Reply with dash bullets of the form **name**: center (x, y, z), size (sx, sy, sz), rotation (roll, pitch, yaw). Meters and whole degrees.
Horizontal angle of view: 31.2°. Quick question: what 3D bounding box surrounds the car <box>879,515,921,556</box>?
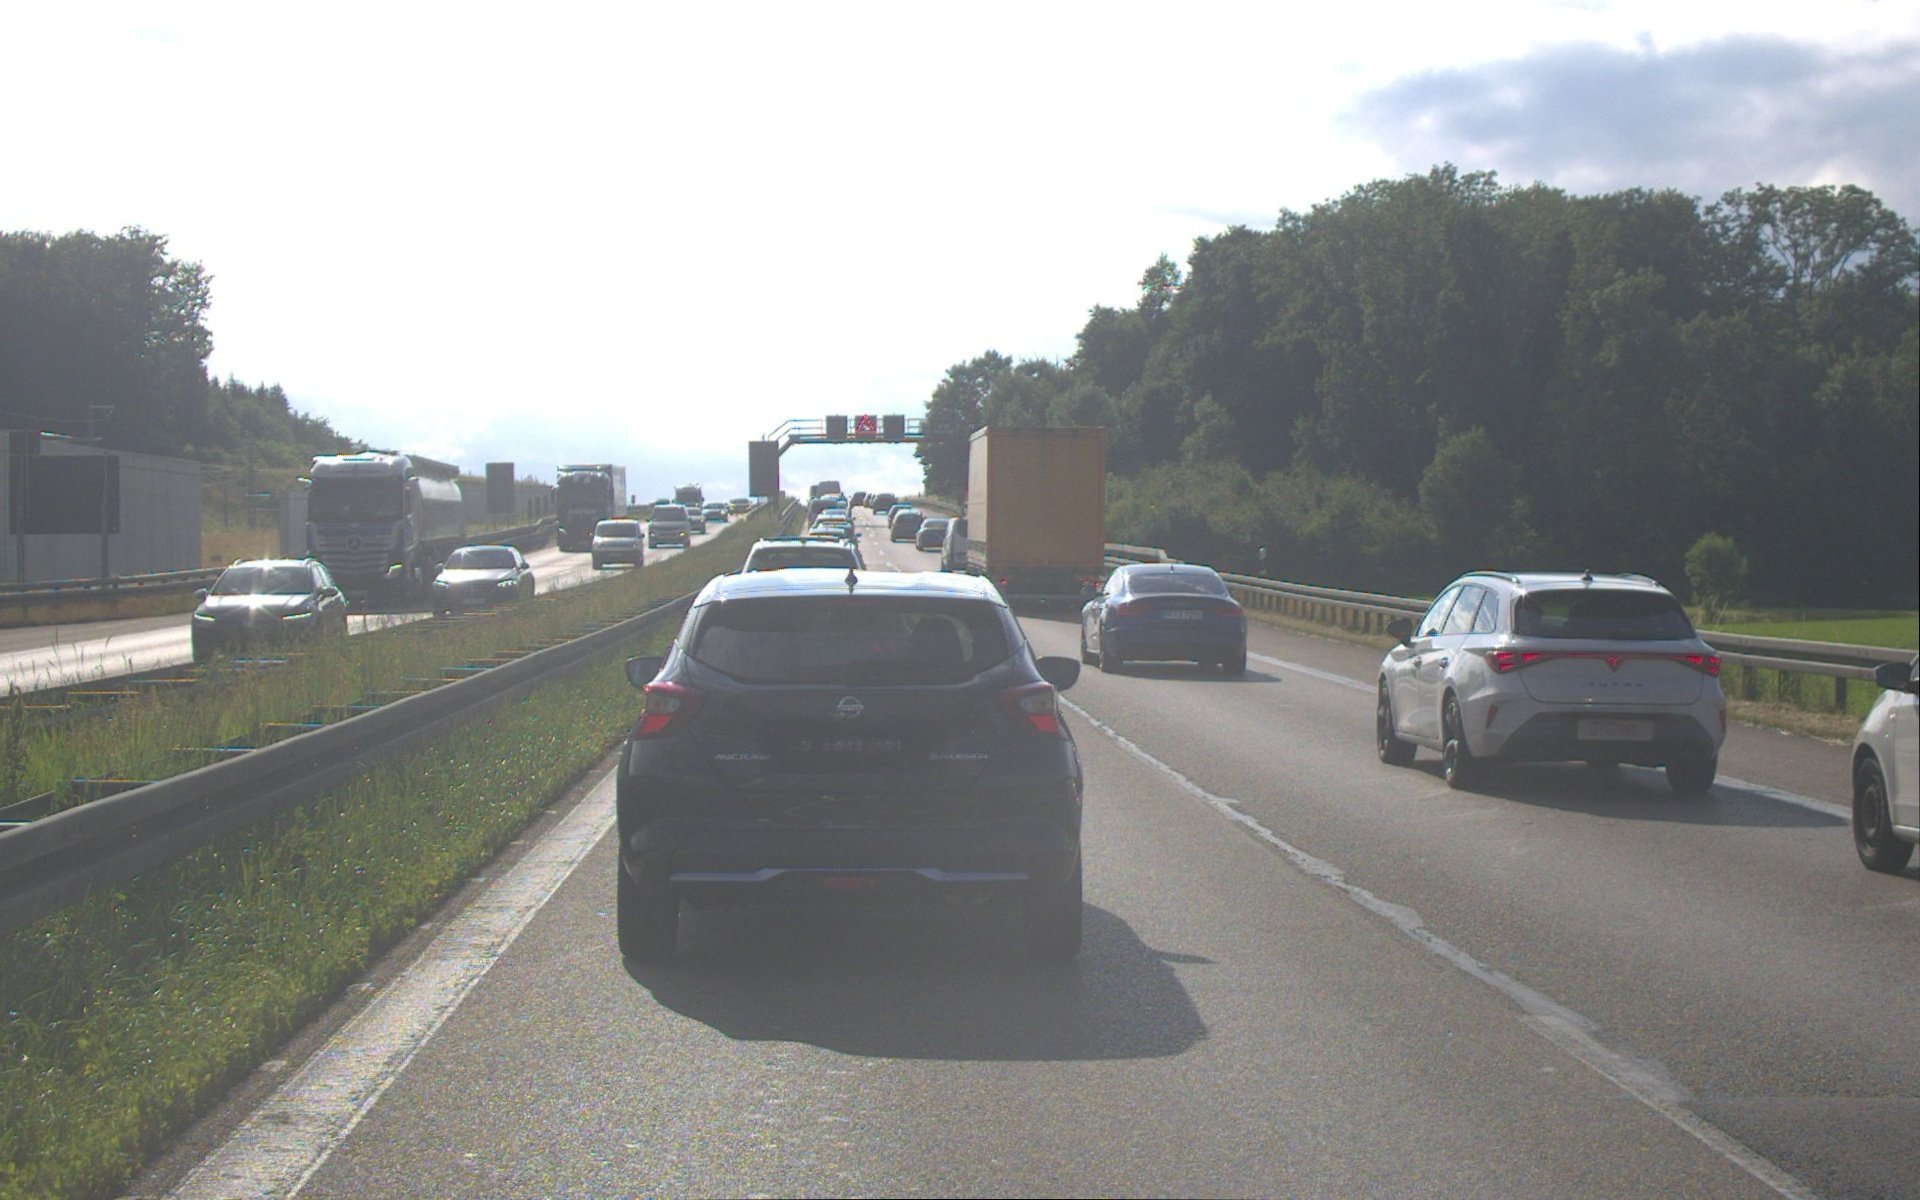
- **car**: center (-3.050, -3.231, 173.697), size (1.993, 2.007, 4.000), rotation (1, 0, -3)

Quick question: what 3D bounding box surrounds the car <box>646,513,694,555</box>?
- **car**: center (-13.899, -3.136, 164.833), size (1.993, 1.877, 4.787), rotation (-2, 0, -2)

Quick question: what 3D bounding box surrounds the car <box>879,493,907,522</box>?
- **car**: center (-5.050, -6.924, 258.016), size (1.993, 2.007, 4.000), rotation (1, 0, -3)

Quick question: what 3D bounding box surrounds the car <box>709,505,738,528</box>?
- **car**: center (-16.581, -5.856, 240.921), size (1.902, 1.459, 4.184), rotation (1, 0, -2)

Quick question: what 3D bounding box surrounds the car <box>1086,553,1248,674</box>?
- **car**: center (2.622, 0.155, 44.380), size (1.747, 1.470, 4.147), rotation (1, 0, -1)

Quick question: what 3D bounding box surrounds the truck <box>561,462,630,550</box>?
- **truck**: center (-17.392, -4.443, 164.357), size (2.754, 4.076, 6.954), rotation (0, 0, -2)

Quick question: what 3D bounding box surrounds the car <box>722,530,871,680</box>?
- **car**: center (-1.938, 0.052, 41.576), size (1.674, 1.720, 3.596), rotation (1, 0, -1)

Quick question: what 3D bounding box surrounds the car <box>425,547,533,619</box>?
- **car**: center (-10.648, -0.378, 76.388), size (1.803, 1.511, 4.691), rotation (1, 0, -1)

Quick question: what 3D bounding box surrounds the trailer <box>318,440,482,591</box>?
- **trailer**: center (-14.984, -2.158, 92.897), size (2.540, 3.758, 12.542), rotation (-1, 0, -1)

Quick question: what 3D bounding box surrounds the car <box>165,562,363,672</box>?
- **car**: center (-9.980, 0.226, 49.603), size (1.993, 1.481, 4.398), rotation (1, 0, -1)

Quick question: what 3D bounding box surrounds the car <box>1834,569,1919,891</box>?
- **car**: center (5.293, 0.633, 15.696), size (1.548, 1.490, 3.378), rotation (1, 1, -3)

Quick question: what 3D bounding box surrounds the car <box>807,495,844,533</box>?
- **car**: center (-7.469, -4.742, 190.565), size (1.993, 2.007, 4.000), rotation (1, 0, -3)

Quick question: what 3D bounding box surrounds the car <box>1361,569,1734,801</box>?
- **car**: center (3.942, 0.527, 23.724), size (1.620, 1.441, 4.147), rotation (1, 0, -3)

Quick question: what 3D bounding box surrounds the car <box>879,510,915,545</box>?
- **car**: center (-3.790, -4.308, 205.177), size (1.993, 2.007, 4.000), rotation (1, 0, -3)

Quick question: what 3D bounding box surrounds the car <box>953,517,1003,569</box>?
- **car**: center (0.600, -1.943, 117.964), size (1.667, 1.749, 3.327), rotation (1, 0, 0)

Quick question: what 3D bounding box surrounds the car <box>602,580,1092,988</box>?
- **car**: center (-0.411, 0.643, 13.828), size (1.710, 1.421, 3.378), rotation (1, 0, 0)

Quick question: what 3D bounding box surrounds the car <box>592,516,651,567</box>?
- **car**: center (-12.743, -2.183, 129.561), size (1.860, 1.827, 4.281), rotation (1, 0, -1)

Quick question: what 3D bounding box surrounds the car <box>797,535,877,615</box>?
- **car**: center (-3.208, -0.639, 89.230), size (1.993, 2.007, 4.000), rotation (1, 0, -3)

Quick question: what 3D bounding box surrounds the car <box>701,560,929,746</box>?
- **car**: center (-1.109, 0.390, 27.348), size (1.674, 1.362, 3.596), rotation (1, 0, -1)

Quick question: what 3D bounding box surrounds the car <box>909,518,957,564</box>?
- **car**: center (-1.236, -2.673, 155.675), size (1.993, 2.007, 4.000), rotation (1, 0, -3)

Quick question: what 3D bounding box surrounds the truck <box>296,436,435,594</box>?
- **truck**: center (-14.843, -2.072, 86.129), size (2.552, 3.785, 5.417), rotation (-1, 0, -1)

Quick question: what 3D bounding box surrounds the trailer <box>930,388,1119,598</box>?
- **trailer**: center (1.329, -2.326, 79.859), size (3.548, 4.442, 12.723), rotation (1, 0, -2)

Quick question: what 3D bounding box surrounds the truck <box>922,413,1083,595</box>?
- **truck**: center (0.997, -2.340, 86.614), size (3.581, 4.365, 6.689), rotation (1, 0, -3)
